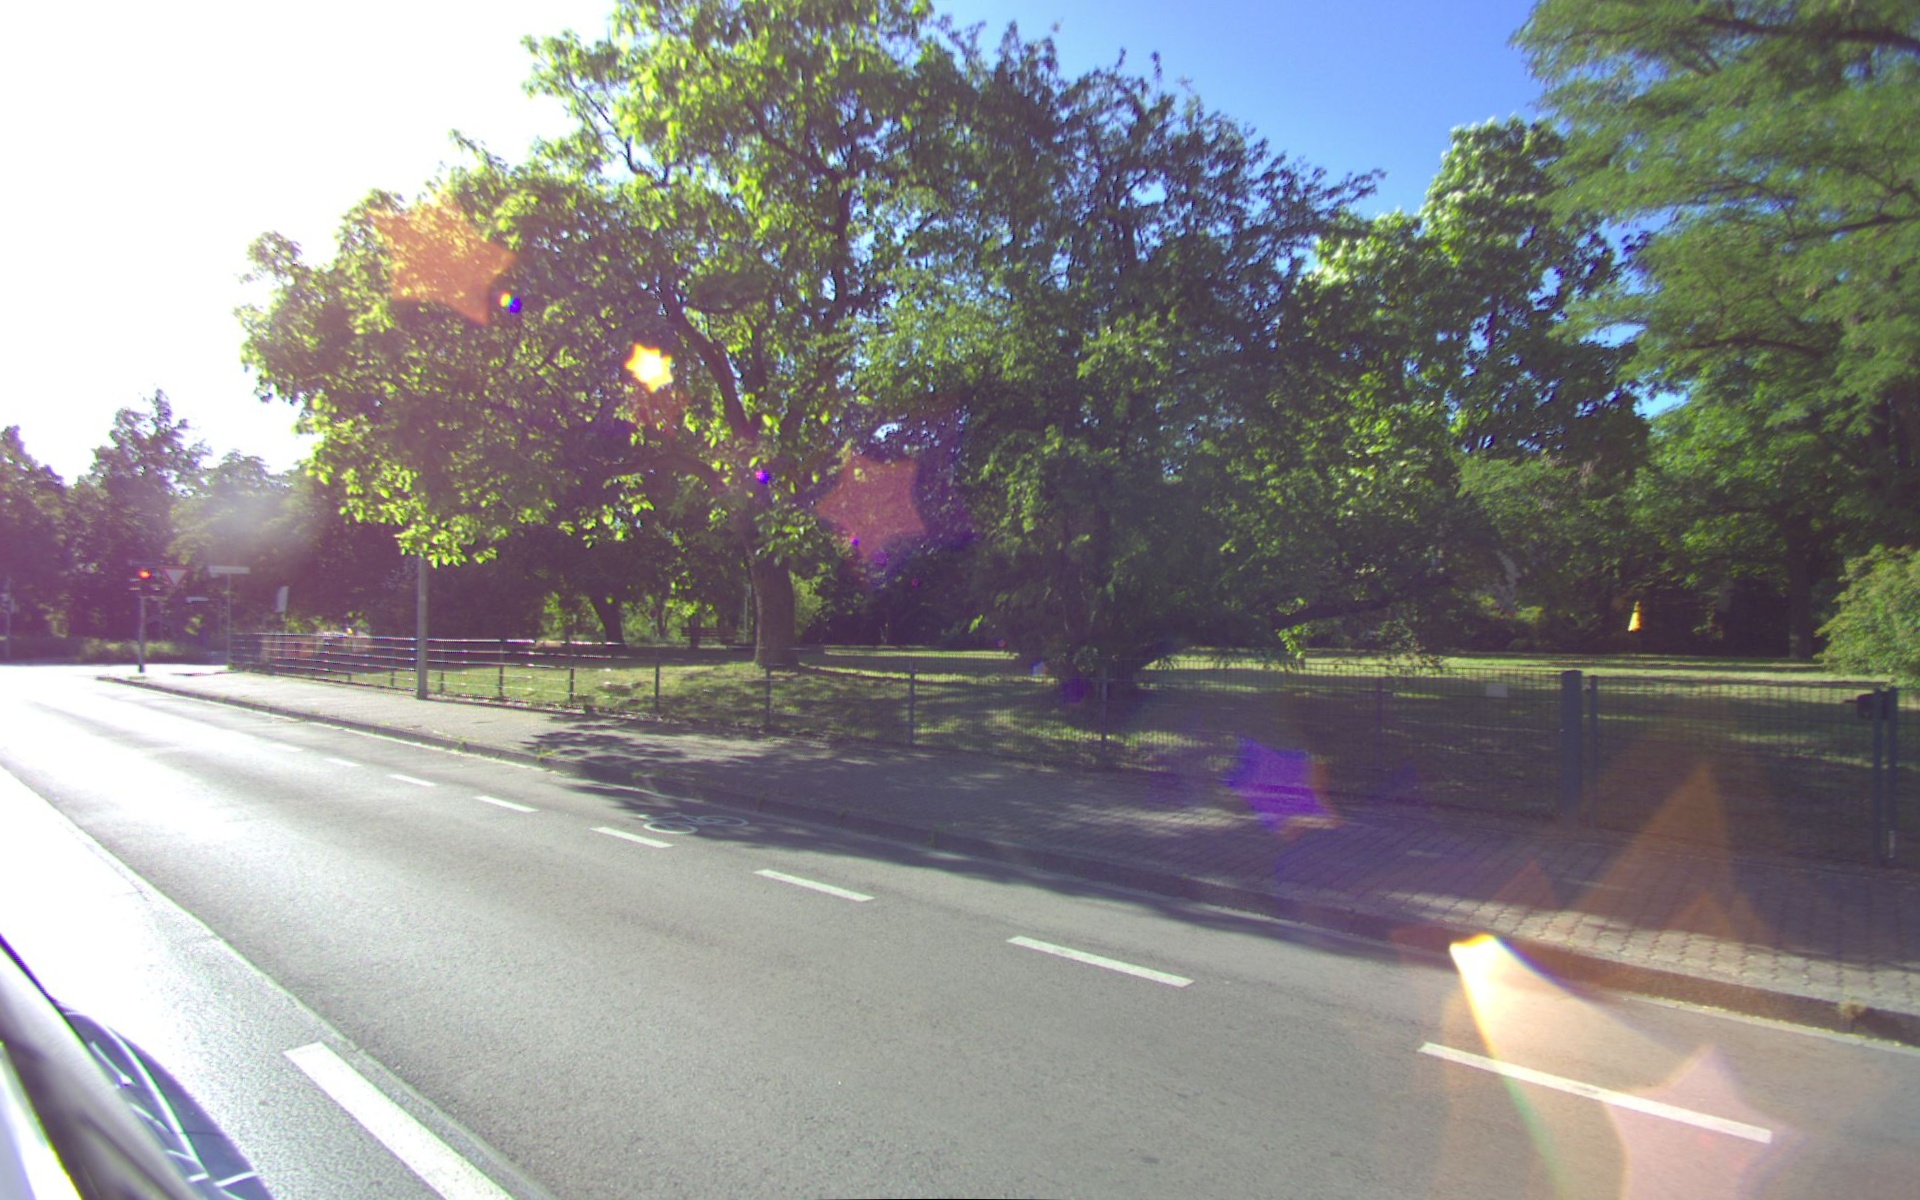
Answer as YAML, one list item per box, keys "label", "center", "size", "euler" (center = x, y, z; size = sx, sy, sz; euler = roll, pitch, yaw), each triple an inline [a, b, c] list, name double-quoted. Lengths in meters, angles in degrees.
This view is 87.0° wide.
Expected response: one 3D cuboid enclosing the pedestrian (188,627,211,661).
- label: "pedestrian"
  center: [-37.201, 2.153, 49.490]
  size: [0.647, 1.646, 0.790]
  euler: [-3, -2, 41]
